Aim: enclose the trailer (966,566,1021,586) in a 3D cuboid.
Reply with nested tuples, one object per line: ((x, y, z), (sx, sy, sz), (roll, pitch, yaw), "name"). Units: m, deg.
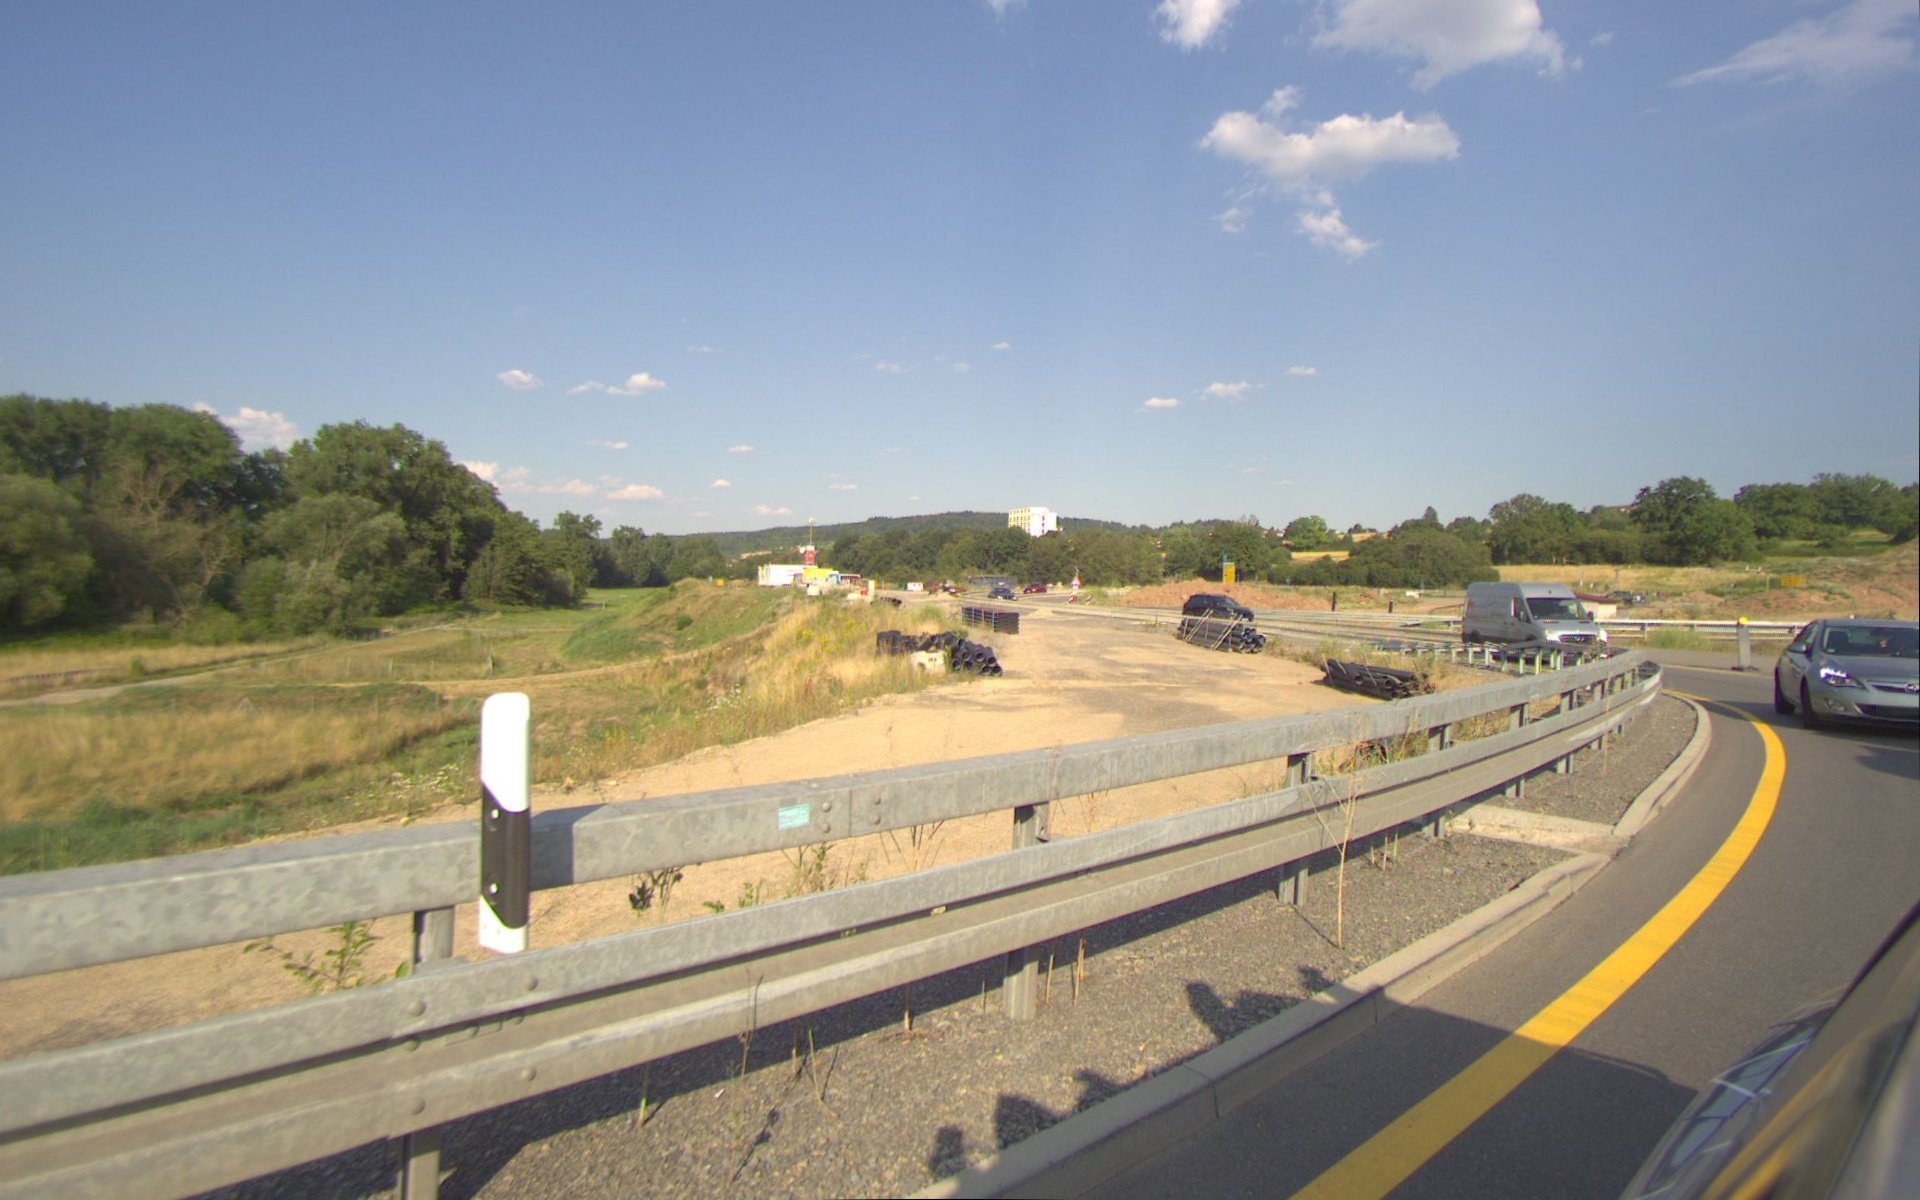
((4.232, -3.025, 127.120), (3.004, 2.444, 7.114), (2, 2, 44), "trailer")

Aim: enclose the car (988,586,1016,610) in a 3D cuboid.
((3.478, -0.167, 84.187), (1.604, 1.808, 4.134), (1, 2, -7), "car")

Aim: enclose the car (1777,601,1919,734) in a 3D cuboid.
((12.505, 0.803, 13.724), (1.736, 1.503, 4.202), (-1, 0, 33), "car")

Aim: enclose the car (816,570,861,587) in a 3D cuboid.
((-15.482, -2.722, 128.981), (5.210, 2.104, 2.492), (0, 2, -25), "car")

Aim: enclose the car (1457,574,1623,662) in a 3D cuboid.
((18.931, 0.481, 33.446), (1.880, 2.531, 5.802), (1, 2, -2), "car")

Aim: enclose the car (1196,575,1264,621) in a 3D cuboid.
((15.122, -0.160, 56.846), (1.837, 2.433, 4.010), (1, 2, -16), "car")
